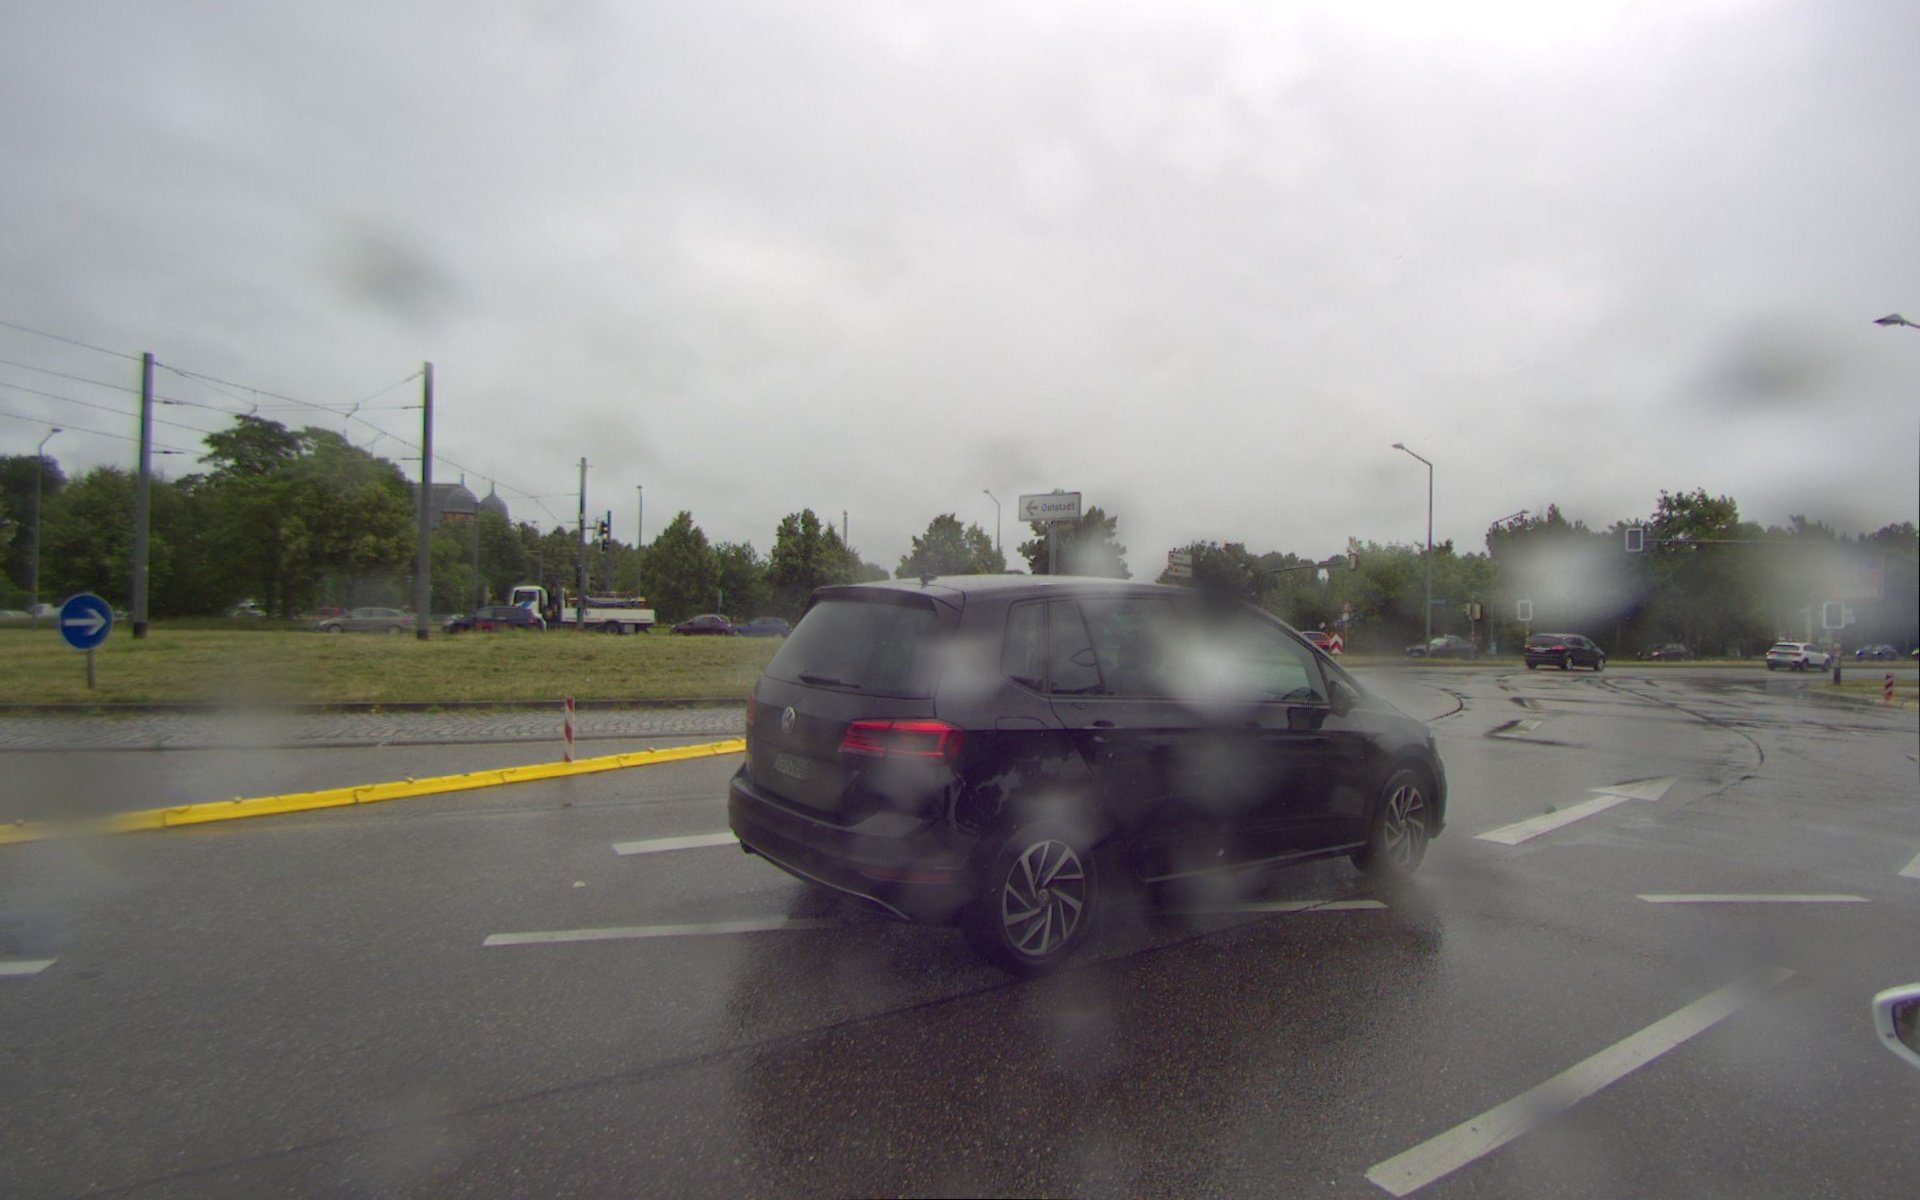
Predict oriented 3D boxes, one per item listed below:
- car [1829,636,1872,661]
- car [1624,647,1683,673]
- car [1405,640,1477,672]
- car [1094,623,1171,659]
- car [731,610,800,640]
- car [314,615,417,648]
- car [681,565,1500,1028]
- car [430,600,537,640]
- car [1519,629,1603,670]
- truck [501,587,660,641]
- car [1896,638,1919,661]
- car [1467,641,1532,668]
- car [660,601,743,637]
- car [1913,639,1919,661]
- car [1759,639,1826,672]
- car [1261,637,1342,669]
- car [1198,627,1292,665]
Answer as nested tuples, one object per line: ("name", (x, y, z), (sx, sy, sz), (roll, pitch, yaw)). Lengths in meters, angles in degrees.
("car", (80.041, 4.381, 90.255), (3.631, 2.040, 1.779), (4, 0, -30))
("car", (52.132, 4.531, 75.511), (3.943, 1.669, 1.779), (4, 0, -22))
("car", (28.616, 3.361, 59.708), (4.346, 1.669, 1.773), (4, 0, -32))
("car", (9.575, 2.256, 55.914), (4.064, 1.669, 1.790), (3, 0, 9))
("car", (-12.240, 1.560, 63.438), (3.923, 1.669, 1.788), (3, 0, -2))
("car", (-31.163, 1.660, 52.681), (4.503, 1.511, 1.596), (4, 0, -34))
("car", (0.922, 0.695, 5.338), (4.291, 1.537, 1.771), (2, 0, -37))
("car", (-24.326, 1.024, 51.390), (4.803, 1.767, 1.766), (4, 0, -26))
("car", (27.907, 2.312, 46.621), (3.959, 1.669, 1.772), (4, 0, -34))
("truck", (-22.815, 0.874, 60.800), (8.648, 2.747, 1.995), (3, 0, -13))
("car", (90.975, 4.723, 95.603), (3.631, 2.040, 1.779), (4, 0, -30))
("car", (37.772, 3.815, 70.313), (4.332, 1.669, 1.777), (4, 0, -27))
("car", (-14.028, 1.035, 54.643), (3.920, 1.669, 1.790), (3, 0, 5))
("car", (66.363, 3.480, 67.840), (3.205, 1.511, 1.685), (3, 0, -23))
("car", (47.741, 3.206, 57.608), (3.901, 1.669, 1.673), (4, 0, -30))
("car", (20.704, 3.226, 60.938), (4.321, 1.669, 1.783), (3, 0, -15))
("car", (14.835, 2.375, 52.419), (4.307, 1.669, 1.789), (3, 0, 0))
